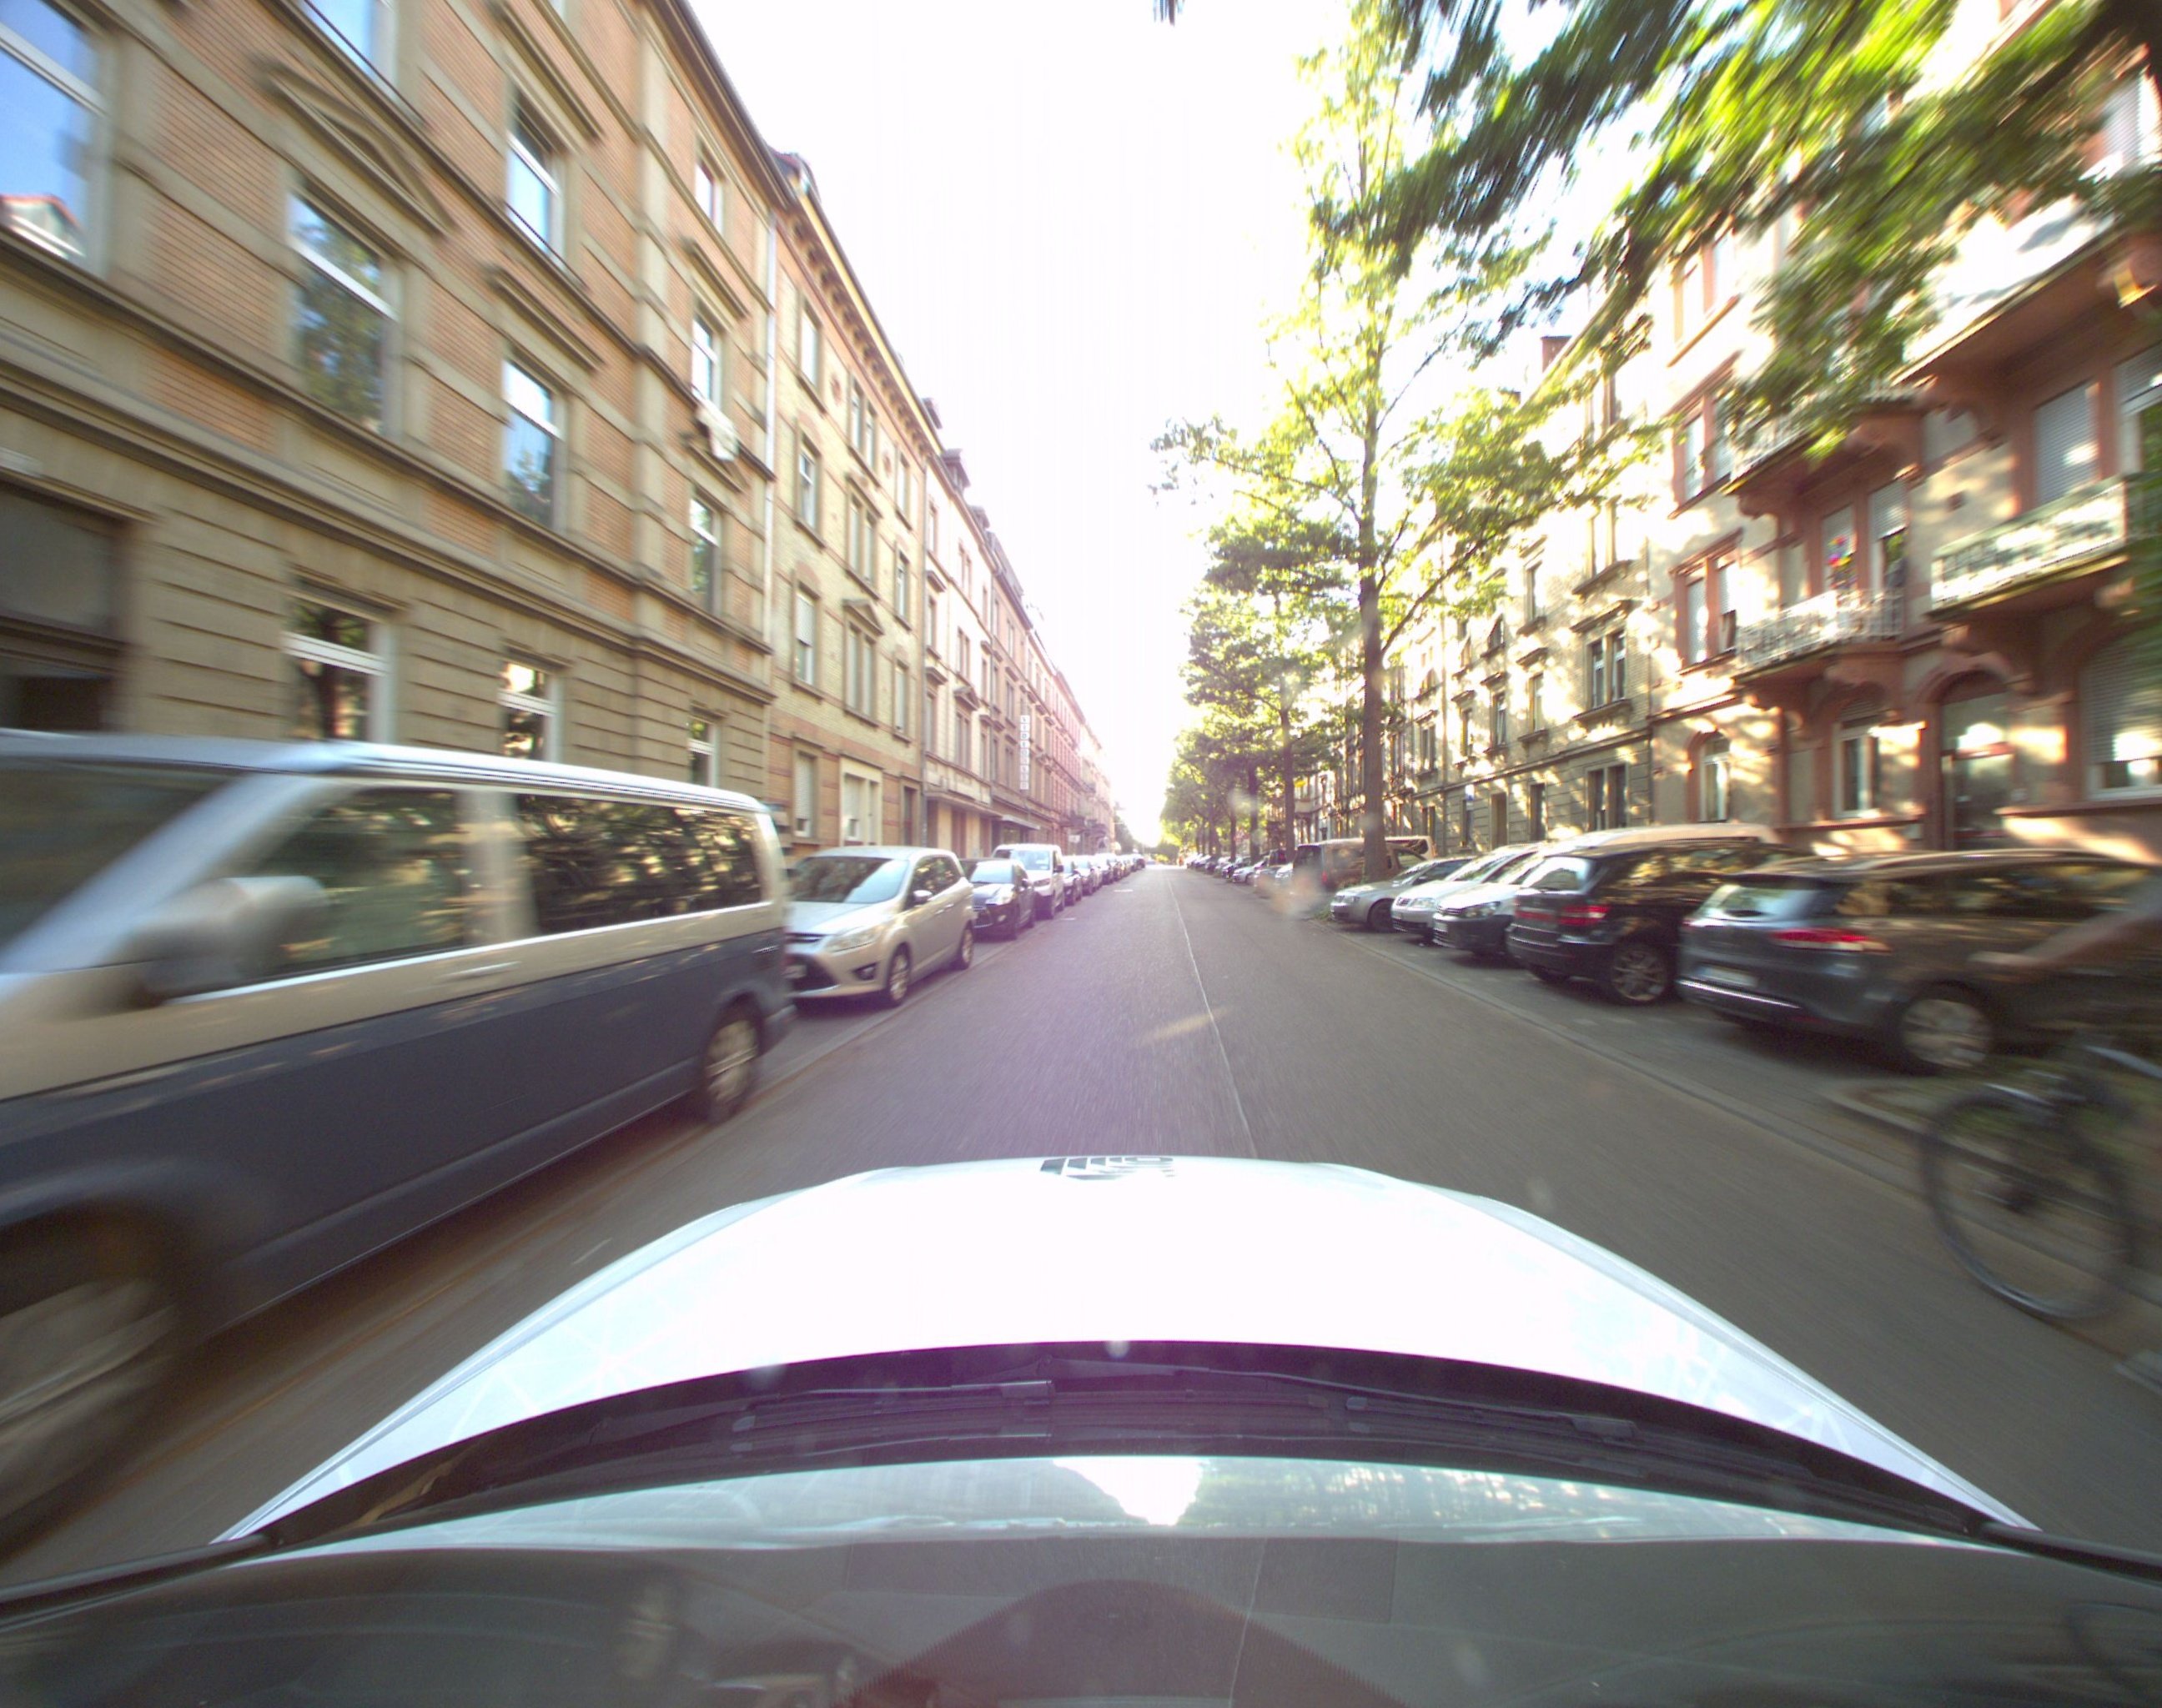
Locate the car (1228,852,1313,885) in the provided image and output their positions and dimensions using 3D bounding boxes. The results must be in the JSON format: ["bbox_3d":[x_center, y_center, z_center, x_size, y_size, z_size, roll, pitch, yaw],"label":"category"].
[{"bbox_3d":[9.474,0.726,40.918,3.835,1.479,1.719,-2,0,2],"label":"car"}]

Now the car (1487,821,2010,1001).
[{"bbox_3d":[6.776,0.571,8.673,3.991,1.607,1.736,-2,-1,5],"label":"car"}]

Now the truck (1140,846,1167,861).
[{"bbox_3d":[19.637,-0.129,220.876,7.269,3.950,2.413,2,0,-31],"label":"truck"}]

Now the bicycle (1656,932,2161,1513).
[{"bbox_3d":[3.063,0.948,2.389,0.990,1.158,2.929,0,0,7],"label":"bicycle"}]

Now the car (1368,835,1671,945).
[{"bbox_3d":[7.394,0.575,14.016,4.210,1.611,1.833,-2,0,-2],"label":"car"}]

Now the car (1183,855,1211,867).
[{"bbox_3d":[16.487,1.005,115.561,3.832,1.574,1.720,-2,0,4],"label":"car"}]

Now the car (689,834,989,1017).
[{"bbox_3d":[-2.478,0.656,9.623,1.744,1.608,4.392,2,0,7],"label":"car"}]

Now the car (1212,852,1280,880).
[{"bbox_3d":[10.258,0.725,50.859,3.841,1.574,1.716,-2,0,-3],"label":"car"}]

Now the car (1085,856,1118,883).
[{"bbox_3d":[1.274,0.886,48.028,1.750,1.473,4.064,-1,0,4],"label":"car"}]

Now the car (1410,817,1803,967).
[{"bbox_3d":[7.055,0.501,11.327,4.202,1.777,1.837,-2,0,4],"label":"car"}]

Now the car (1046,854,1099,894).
[{"bbox_3d":[-0.274,0.759,32.193,1.750,1.473,4.064,-1,0,4],"label":"car"}]

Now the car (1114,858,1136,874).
[{"bbox_3d":[4.364,1.224,80.153,1.984,1.486,4.004,0,-2,4],"label":"car"}]

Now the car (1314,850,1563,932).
[{"bbox_3d":[7.071,0.707,16.430,4.206,1.403,1.835,-2,0,0],"label":"car"}]

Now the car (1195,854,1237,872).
[{"bbox_3d":[12.911,0.875,78.007,3.832,1.574,1.720,-2,0,4],"label":"car"}]

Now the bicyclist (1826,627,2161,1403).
[{"bbox_3d":[3.033,0.374,2.202,0.990,1.790,1.210,0,0,7],"label":"bicyclist"}]

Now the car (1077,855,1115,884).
[{"bbox_3d":[0.850,0.795,43.275,1.750,1.473,4.064,-1,0,4],"label":"car"}]

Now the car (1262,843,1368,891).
[{"bbox_3d":[9.528,0.514,33.357,3.835,1.797,1.719,-2,0,2],"label":"car"}]

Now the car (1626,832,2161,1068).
[{"bbox_3d":[6.700,0.618,6.095,3.991,1.468,1.736,-2,-1,5],"label":"car"}]

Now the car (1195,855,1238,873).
[{"bbox_3d":[12.600,0.908,75.886,3.832,1.574,1.720,-2,0,4],"label":"car"}]

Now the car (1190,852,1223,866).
[{"bbox_3d":[15.447,0.649,100.112,3.832,1.574,1.720,-2,0,4],"label":"car"}]

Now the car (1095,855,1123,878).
[{"bbox_3d":[1.917,0.820,54.499,1.750,1.473,4.064,-1,0,4],"label":"car"}]

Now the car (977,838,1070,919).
[{"bbox_3d":[-1.361,0.575,21.088,1.750,1.842,4.535,-1,0,4],"label":"car"}]

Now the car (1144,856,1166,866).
[{"bbox_3d":[14.512,1.355,159.307,3.959,1.859,1.757,1,0,13],"label":"car"}]

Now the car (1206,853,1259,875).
[{"bbox_3d":[12.133,0.802,65.159,3.841,1.574,1.716,-2,0,-3],"label":"car"}]

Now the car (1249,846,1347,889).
[{"bbox_3d":[9.429,0.581,35.640,3.835,1.699,1.719,-2,0,2],"label":"car"}]

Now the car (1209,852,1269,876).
[{"bbox_3d":[11.241,0.725,58.149,3.841,1.574,1.716,-2,0,-3],"label":"car"}]

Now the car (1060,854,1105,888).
[{"bbox_3d":[0.141,0.740,37.053,1.750,1.473,4.064,-1,0,4],"label":"car"}]

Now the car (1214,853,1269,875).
[{"bbox_3d":[12.413,0.765,63.091,3.841,1.574,1.716,-2,0,-3],"label":"car"}]

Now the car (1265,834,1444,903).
[{"bbox_3d":[8.503,0.441,25.733,5.032,1.925,1.838,-2,0,5],"label":"car"}]

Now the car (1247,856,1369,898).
[{"bbox_3d":[7.920,0.789,28.654,3.835,1.294,1.719,-2,0,2],"label":"car"}]

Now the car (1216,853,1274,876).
[{"bbox_3d":[12.150,0.768,60.489,3.841,1.574,1.716,-2,0,-3],"label":"car"}]

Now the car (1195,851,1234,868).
[{"bbox_3d":[13.559,0.601,82.874,3.832,1.574,1.720,-2,0,4],"label":"car"}]

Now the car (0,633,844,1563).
[{"bbox_3d":[-2.975,0.500,3.591,1.823,1.943,5.268,2,0,5],"label":"car"}]

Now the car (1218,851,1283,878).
[{"bbox_3d":[11.040,0.675,53.213,3.841,1.574,1.716,-2,0,-3],"label":"car"}]

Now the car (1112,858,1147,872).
[{"bbox_3d":[5.412,1.229,90.875,1.974,1.486,4.025,-2,-3,37],"label":"car"}]

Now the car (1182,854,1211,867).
[{"bbox_3d":[16.048,0.918,113.122,3.832,1.574,1.720,-2,0,4],"label":"car"}]

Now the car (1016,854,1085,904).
[{"bbox_3d":[-0.888,0.740,26.113,1.750,1.473,4.064,-1,0,4],"label":"car"}]

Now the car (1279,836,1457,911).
[{"bbox_3d":[7.731,0.494,22.043,4.227,1.795,1.826,-2,0,-15],"label":"car"}]

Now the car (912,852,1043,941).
[{"bbox_3d":[-1.886,0.737,16.048,1.751,1.467,4.004,2,0,4],"label":"car"}]

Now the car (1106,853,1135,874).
[{"bbox_3d":[2.941,0.743,60.469,1.984,1.486,4.004,0,-2,4],"label":"car"}]

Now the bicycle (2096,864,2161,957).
[{"bbox_3d":[12.054,0.618,8.541,0.550,1.001,1.896,-2,-1,6],"label":"bicycle"}]

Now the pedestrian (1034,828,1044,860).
[{"bbox_3d":[-2.475,-0.590,47.542,0.496,1.861,0.464,1,0,5],"label":"pedestrian"}]
